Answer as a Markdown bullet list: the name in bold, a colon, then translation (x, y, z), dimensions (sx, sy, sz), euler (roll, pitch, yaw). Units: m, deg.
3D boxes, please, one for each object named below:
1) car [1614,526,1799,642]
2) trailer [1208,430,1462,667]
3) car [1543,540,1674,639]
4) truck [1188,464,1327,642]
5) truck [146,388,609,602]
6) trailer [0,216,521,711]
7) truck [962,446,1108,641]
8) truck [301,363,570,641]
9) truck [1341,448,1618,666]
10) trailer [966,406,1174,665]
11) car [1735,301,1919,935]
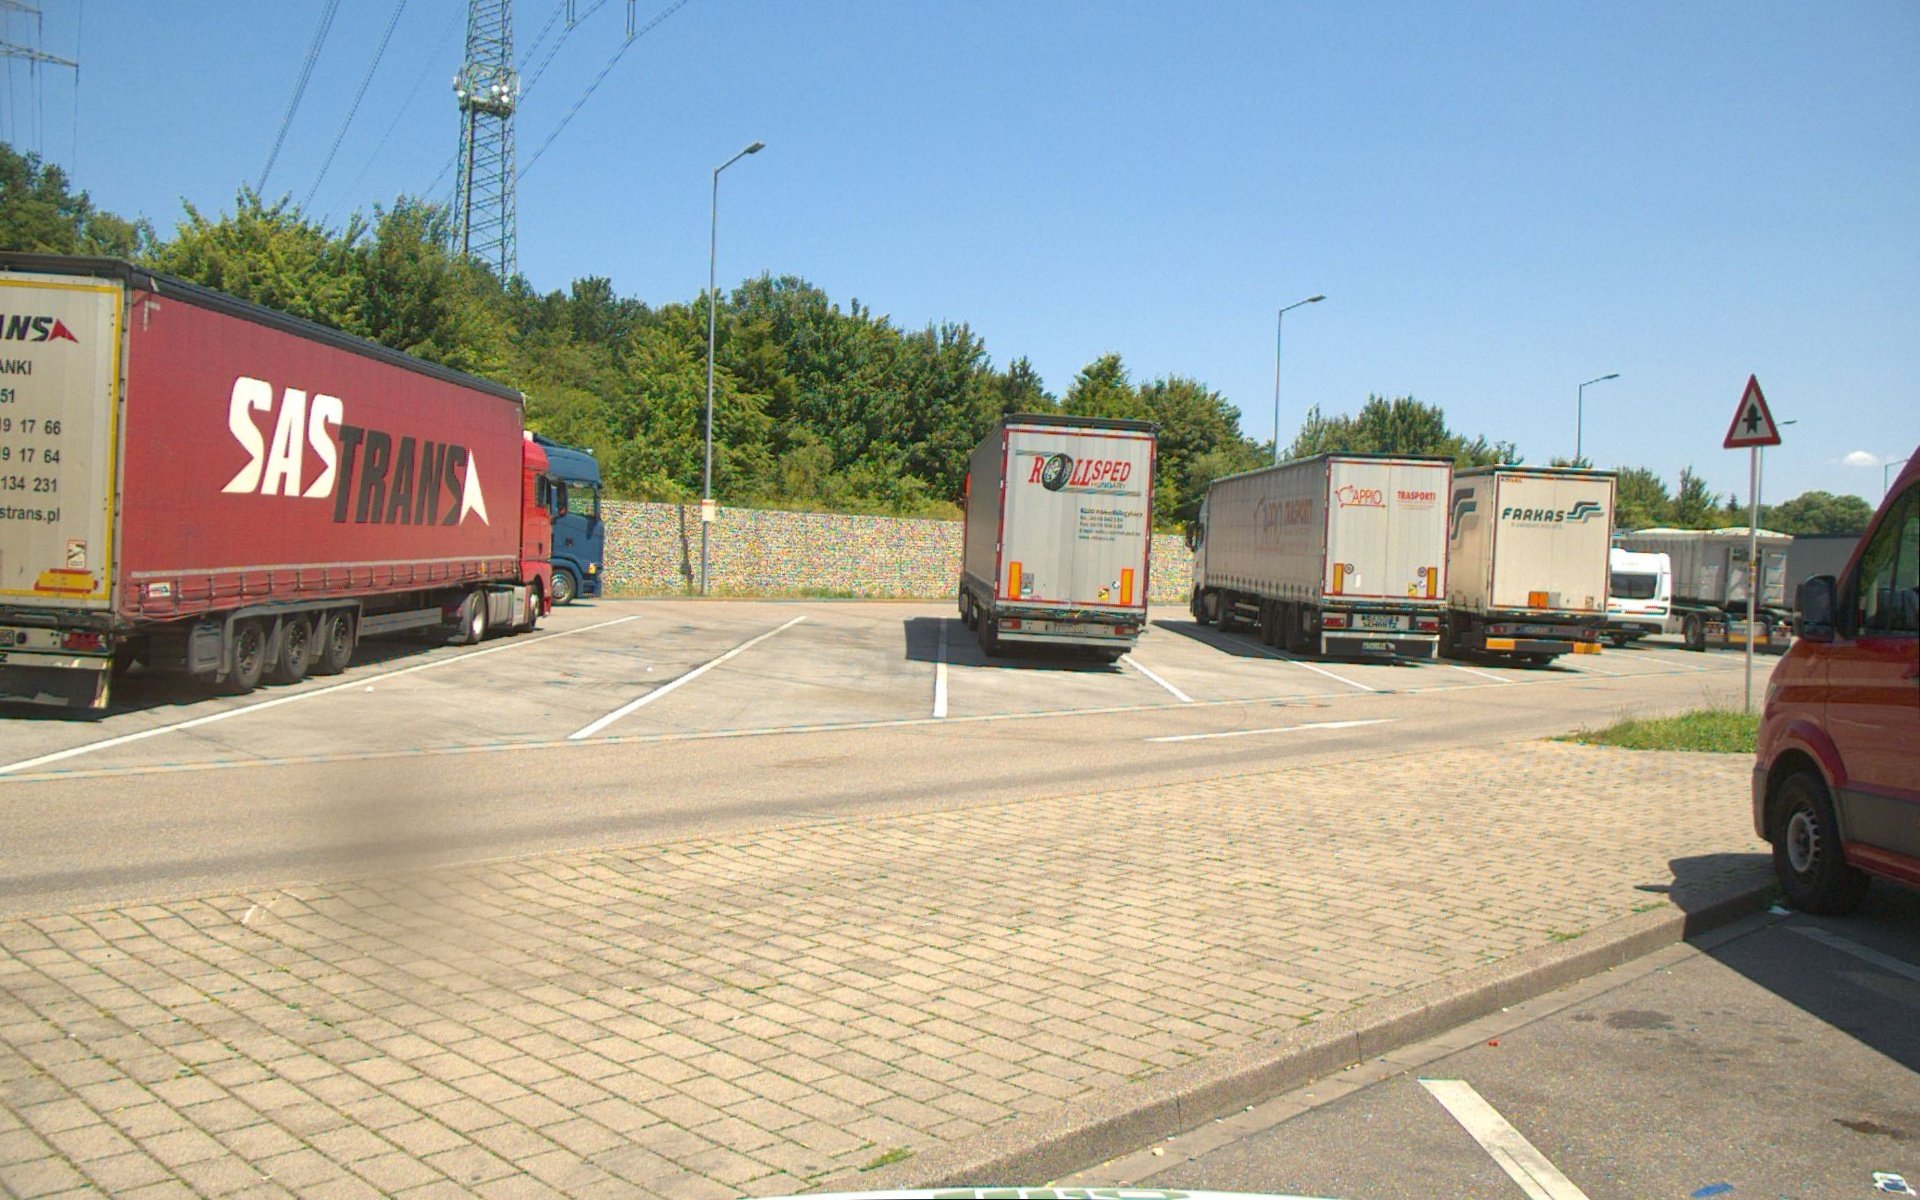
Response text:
- **car**: translation (21.713, -0.499, 48.501), dimensions (2.448, 3.128, 6.350), euler (1, 1, -1)
- **trailer**: translation (8.187, -1.101, 38.316), dimensions (2.627, 4.530, 12.826), euler (1, 1, -1)
- **car**: translation (18.247, -0.272, 46.743), dimensions (2.072, 2.645, 3.999), euler (1, 0, -1)
- **truck**: translation (8.035, -1.254, 45.331), dimensions (2.607, 4.530, 5.863), euler (1, 1, -1)
- **truck**: translation (-12.795, -2.121, 37.491), dimensions (2.203, 4.104, 9.989), euler (2, 0, 43)
- **trailer**: translation (-8.628, -1.320, 20.993), dimensions (2.743, 4.293, 13.200), euler (1, 1, -1)
- **truck**: translation (1.573, -1.243, 37.728), dimensions (2.813, 4.050, 6.028), euler (1, 1, -2)
- **truck**: translation (-8.714, -1.555, 28.248), dimensions (2.749, 4.205, 5.893), euler (1, 1, -1)
- **truck**: translation (11.728, -0.838, 38.902), dimensions (2.534, 4.299, 11.967), euler (1, 0, -1)
- **trailer**: translation (1.784, -1.129, 32.070), dimensions (2.839, 4.083, 11.313), euler (1, 1, -2)
- **car**: translation (4.966, 0.110, 5.566), dimensions (1.952, 2.679, 6.385), euler (1, 1, 3)
